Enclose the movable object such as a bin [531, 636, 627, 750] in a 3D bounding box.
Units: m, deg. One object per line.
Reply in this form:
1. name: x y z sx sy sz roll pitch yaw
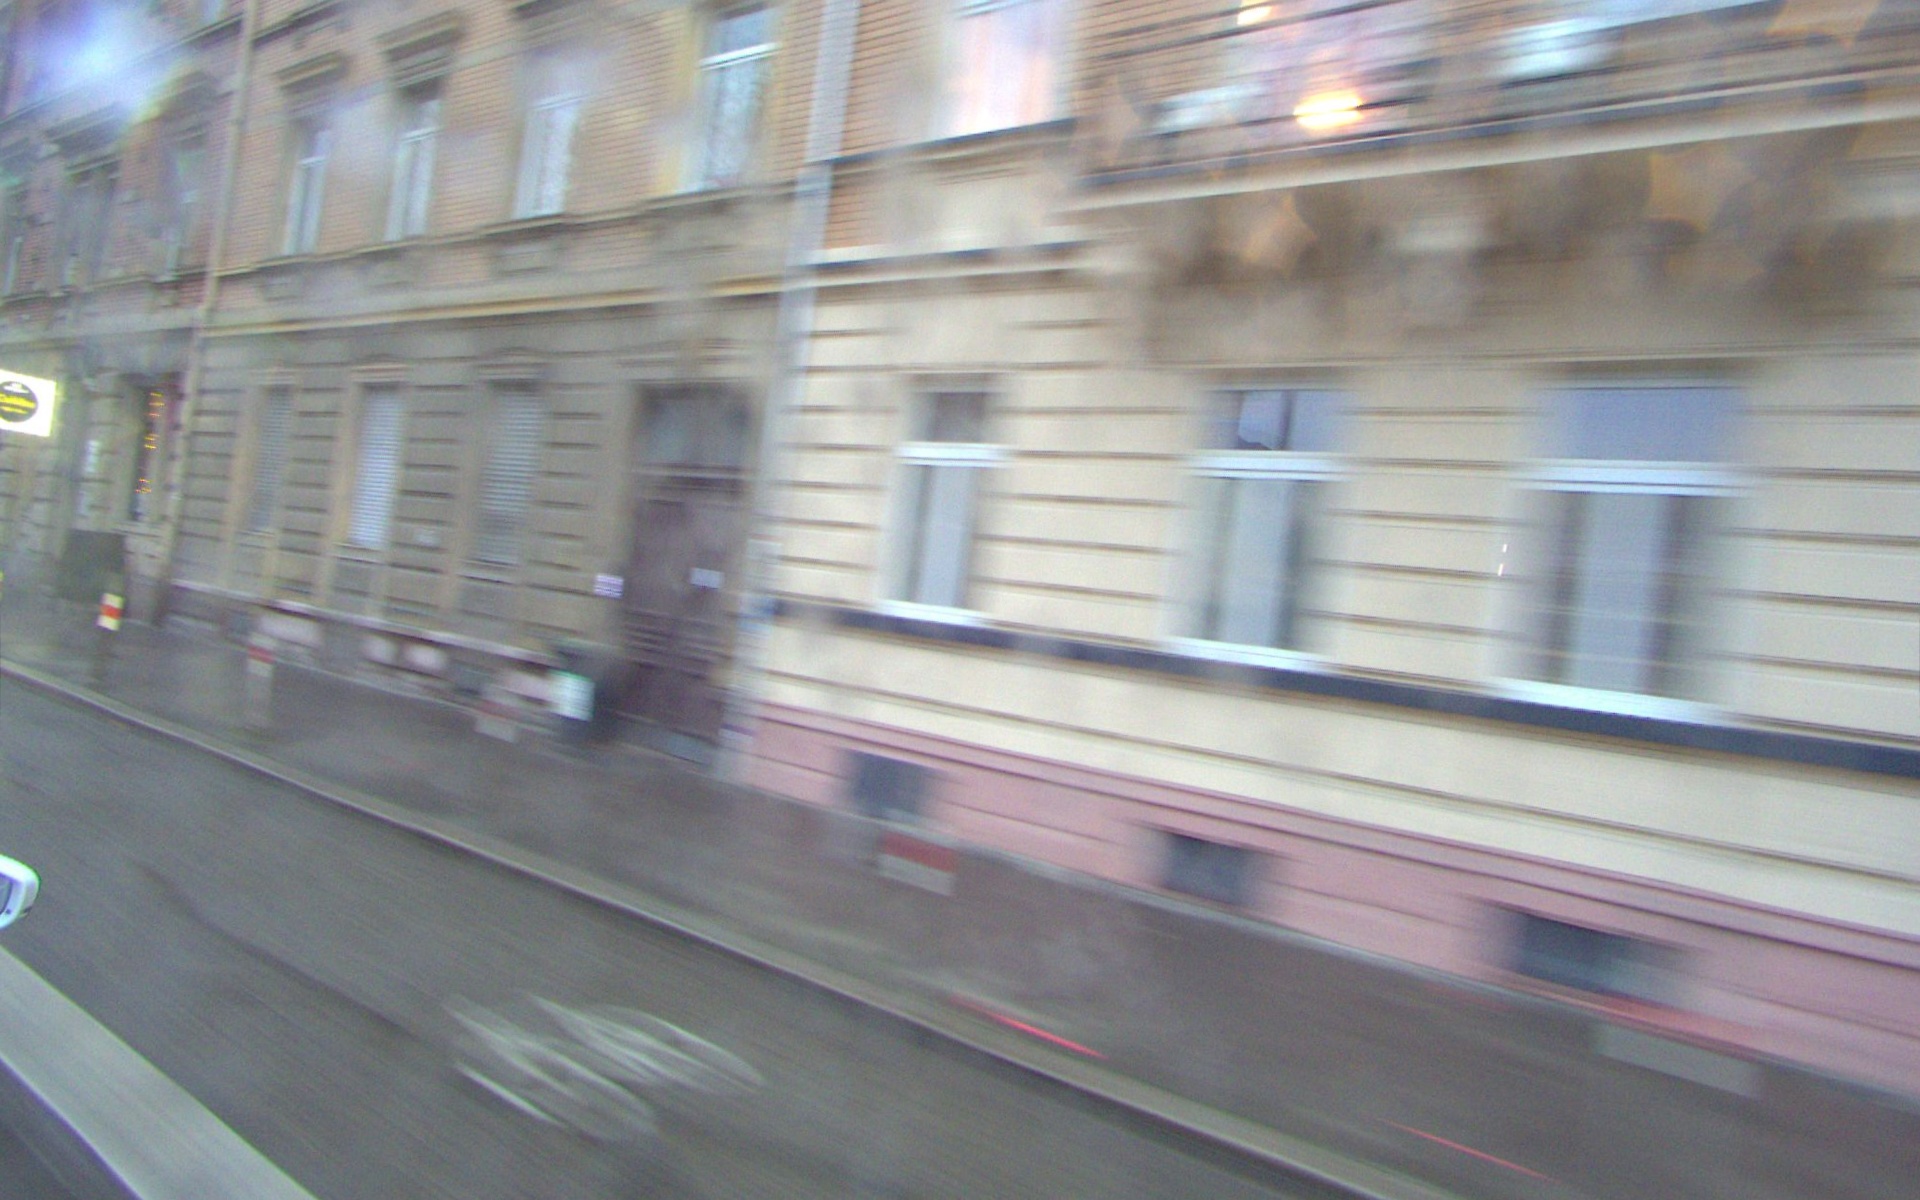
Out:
1. movable object such as a bin: -3.433 0.838 9.076 0.499 0.942 0.507 7 -1 30
